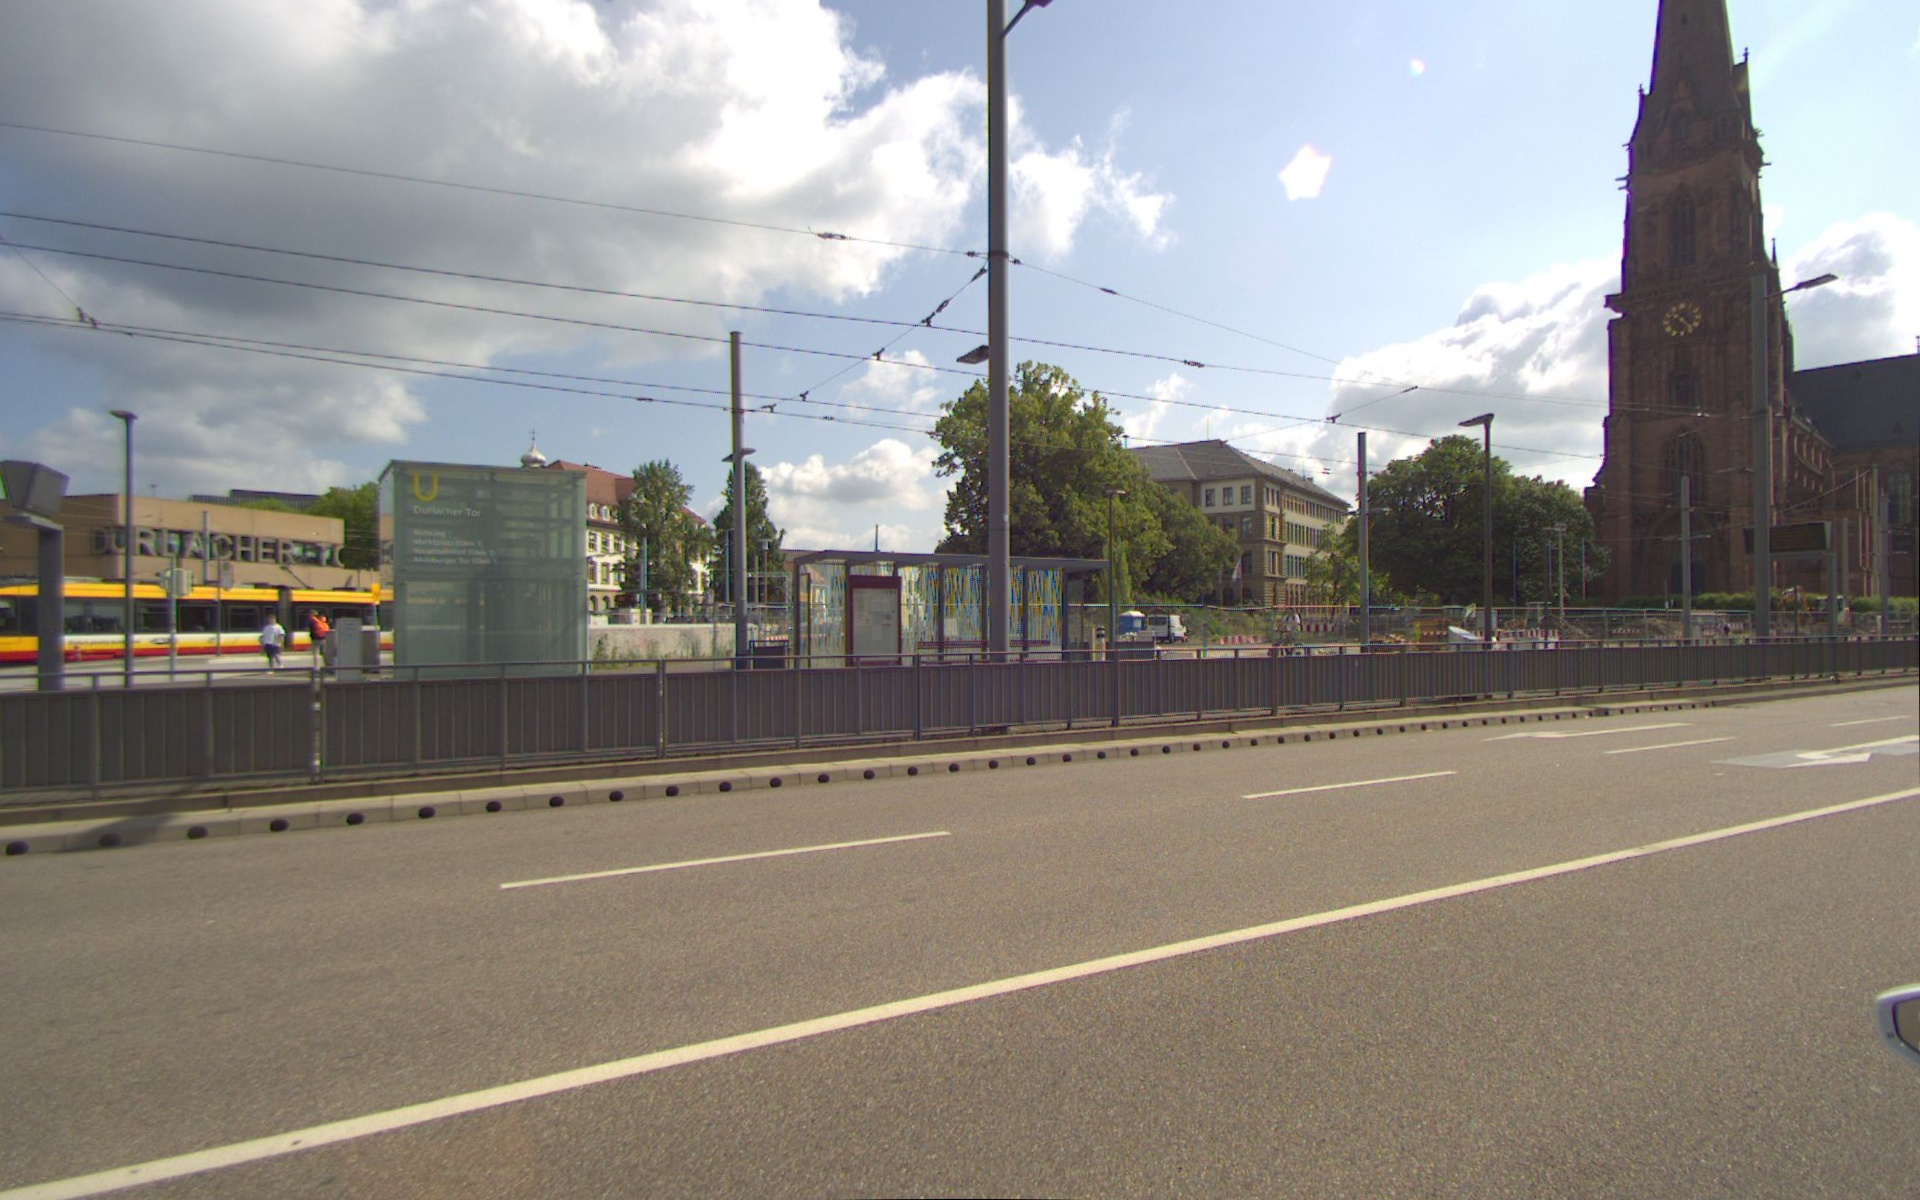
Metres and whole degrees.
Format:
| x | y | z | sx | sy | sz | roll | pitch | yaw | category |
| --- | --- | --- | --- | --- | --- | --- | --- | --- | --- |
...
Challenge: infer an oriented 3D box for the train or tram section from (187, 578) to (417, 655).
| x | y | z | sx | sy | sz | roll | pitch | yaw | category |
| --- | --- | --- | --- | --- | --- | --- | --- | --- | --- |
| -34.047 | 0.763 | 52.801 | 3.257 | 3.527 | 10.612 | -2 | 0 | 14 | train or tram section |

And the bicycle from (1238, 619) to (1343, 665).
| x | y | z | sx | sy | sz | roll | pitch | yaw | category |
| --- | --- | --- | --- | --- | --- | --- | --- | --- | --- |
| 10.837 | 1.346 | 32.854 | 3.652 | 1.445 | 1.187 | 1 | -2 | -32 | bicycle |

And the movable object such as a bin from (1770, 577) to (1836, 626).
| x | y | z | sx | sy | sz | roll | pitch | yaw | category |
| --- | --- | --- | --- | --- | --- | --- | --- | --- | --- |
| 57.734 | 0.097 | 68.803 | 3.946 | 3.147 | 1.987 | -2 | 0 | -26 | movable object such as a bin |

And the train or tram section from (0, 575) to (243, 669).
| x | y | z | sx | sy | sz | roll | pitch | yaw | category |
| --- | --- | --- | --- | --- | --- | --- | --- | --- | --- |
| -36.584 | 0.843 | 42.403 | 3.257 | 3.527 | 10.612 | -2 | 0 | 14 | train or tram section |

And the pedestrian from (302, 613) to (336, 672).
| x | y | z | sx | sy | sz | roll | pitch | yaw | category |
| --- | --- | --- | --- | --- | --- | --- | --- | --- | --- |
| -20.085 | 1.338 | 31.485 | 0.706 | 1.818 | 0.563 | -1 | -1 | 13 | pedestrian |

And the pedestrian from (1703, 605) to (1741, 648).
| x | y | z | sx | sy | sz | roll | pitch | yaw | category |
| --- | --- | --- | --- | --- | --- | --- | --- | --- | --- |
| 36.770 | 1.289 | 48.484 | 1.037 | 2.040 | 1.062 | 0 | -2 | -26 | pedestrian |

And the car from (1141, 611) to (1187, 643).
| x | y | z | sx | sy | sz | roll | pitch | yaw | category |
| --- | --- | --- | --- | --- | --- | --- | --- | --- | --- |
| 14.818 | 1.927 | 72.800 | 1.906 | 2.166 | 4.637 | -1 | 0 | 29 | car |

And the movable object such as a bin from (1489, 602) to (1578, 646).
| x | y | z | sx | sy | sz | roll | pitch | yaw | category |
| --- | --- | --- | --- | --- | --- | --- | --- | --- | --- |
| 40.374 | 1.688 | 70.845 | 1.981 | 2.950 | 5.102 | 1 | -2 | -36 | movable object such as a bin |

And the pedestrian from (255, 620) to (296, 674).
| x | y | z | sx | sy | sz | roll | pitch | yaw | category |
| --- | --- | --- | --- | --- | --- | --- | --- | --- | --- |
| -21.487 | 1.471 | 31.540 | 0.766 | 1.694 | 0.721 | -1 | -1 | 9 | pedestrian |

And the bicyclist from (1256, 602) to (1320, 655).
| x | y | z | sx | sy | sz | roll | pitch | yaw | category |
| --- | --- | --- | --- | --- | --- | --- | --- | --- | --- |
| 10.708 | 0.924 | 32.796 | 1.665 | 1.706 | 1.171 | 1 | -2 | -32 | bicyclist |
